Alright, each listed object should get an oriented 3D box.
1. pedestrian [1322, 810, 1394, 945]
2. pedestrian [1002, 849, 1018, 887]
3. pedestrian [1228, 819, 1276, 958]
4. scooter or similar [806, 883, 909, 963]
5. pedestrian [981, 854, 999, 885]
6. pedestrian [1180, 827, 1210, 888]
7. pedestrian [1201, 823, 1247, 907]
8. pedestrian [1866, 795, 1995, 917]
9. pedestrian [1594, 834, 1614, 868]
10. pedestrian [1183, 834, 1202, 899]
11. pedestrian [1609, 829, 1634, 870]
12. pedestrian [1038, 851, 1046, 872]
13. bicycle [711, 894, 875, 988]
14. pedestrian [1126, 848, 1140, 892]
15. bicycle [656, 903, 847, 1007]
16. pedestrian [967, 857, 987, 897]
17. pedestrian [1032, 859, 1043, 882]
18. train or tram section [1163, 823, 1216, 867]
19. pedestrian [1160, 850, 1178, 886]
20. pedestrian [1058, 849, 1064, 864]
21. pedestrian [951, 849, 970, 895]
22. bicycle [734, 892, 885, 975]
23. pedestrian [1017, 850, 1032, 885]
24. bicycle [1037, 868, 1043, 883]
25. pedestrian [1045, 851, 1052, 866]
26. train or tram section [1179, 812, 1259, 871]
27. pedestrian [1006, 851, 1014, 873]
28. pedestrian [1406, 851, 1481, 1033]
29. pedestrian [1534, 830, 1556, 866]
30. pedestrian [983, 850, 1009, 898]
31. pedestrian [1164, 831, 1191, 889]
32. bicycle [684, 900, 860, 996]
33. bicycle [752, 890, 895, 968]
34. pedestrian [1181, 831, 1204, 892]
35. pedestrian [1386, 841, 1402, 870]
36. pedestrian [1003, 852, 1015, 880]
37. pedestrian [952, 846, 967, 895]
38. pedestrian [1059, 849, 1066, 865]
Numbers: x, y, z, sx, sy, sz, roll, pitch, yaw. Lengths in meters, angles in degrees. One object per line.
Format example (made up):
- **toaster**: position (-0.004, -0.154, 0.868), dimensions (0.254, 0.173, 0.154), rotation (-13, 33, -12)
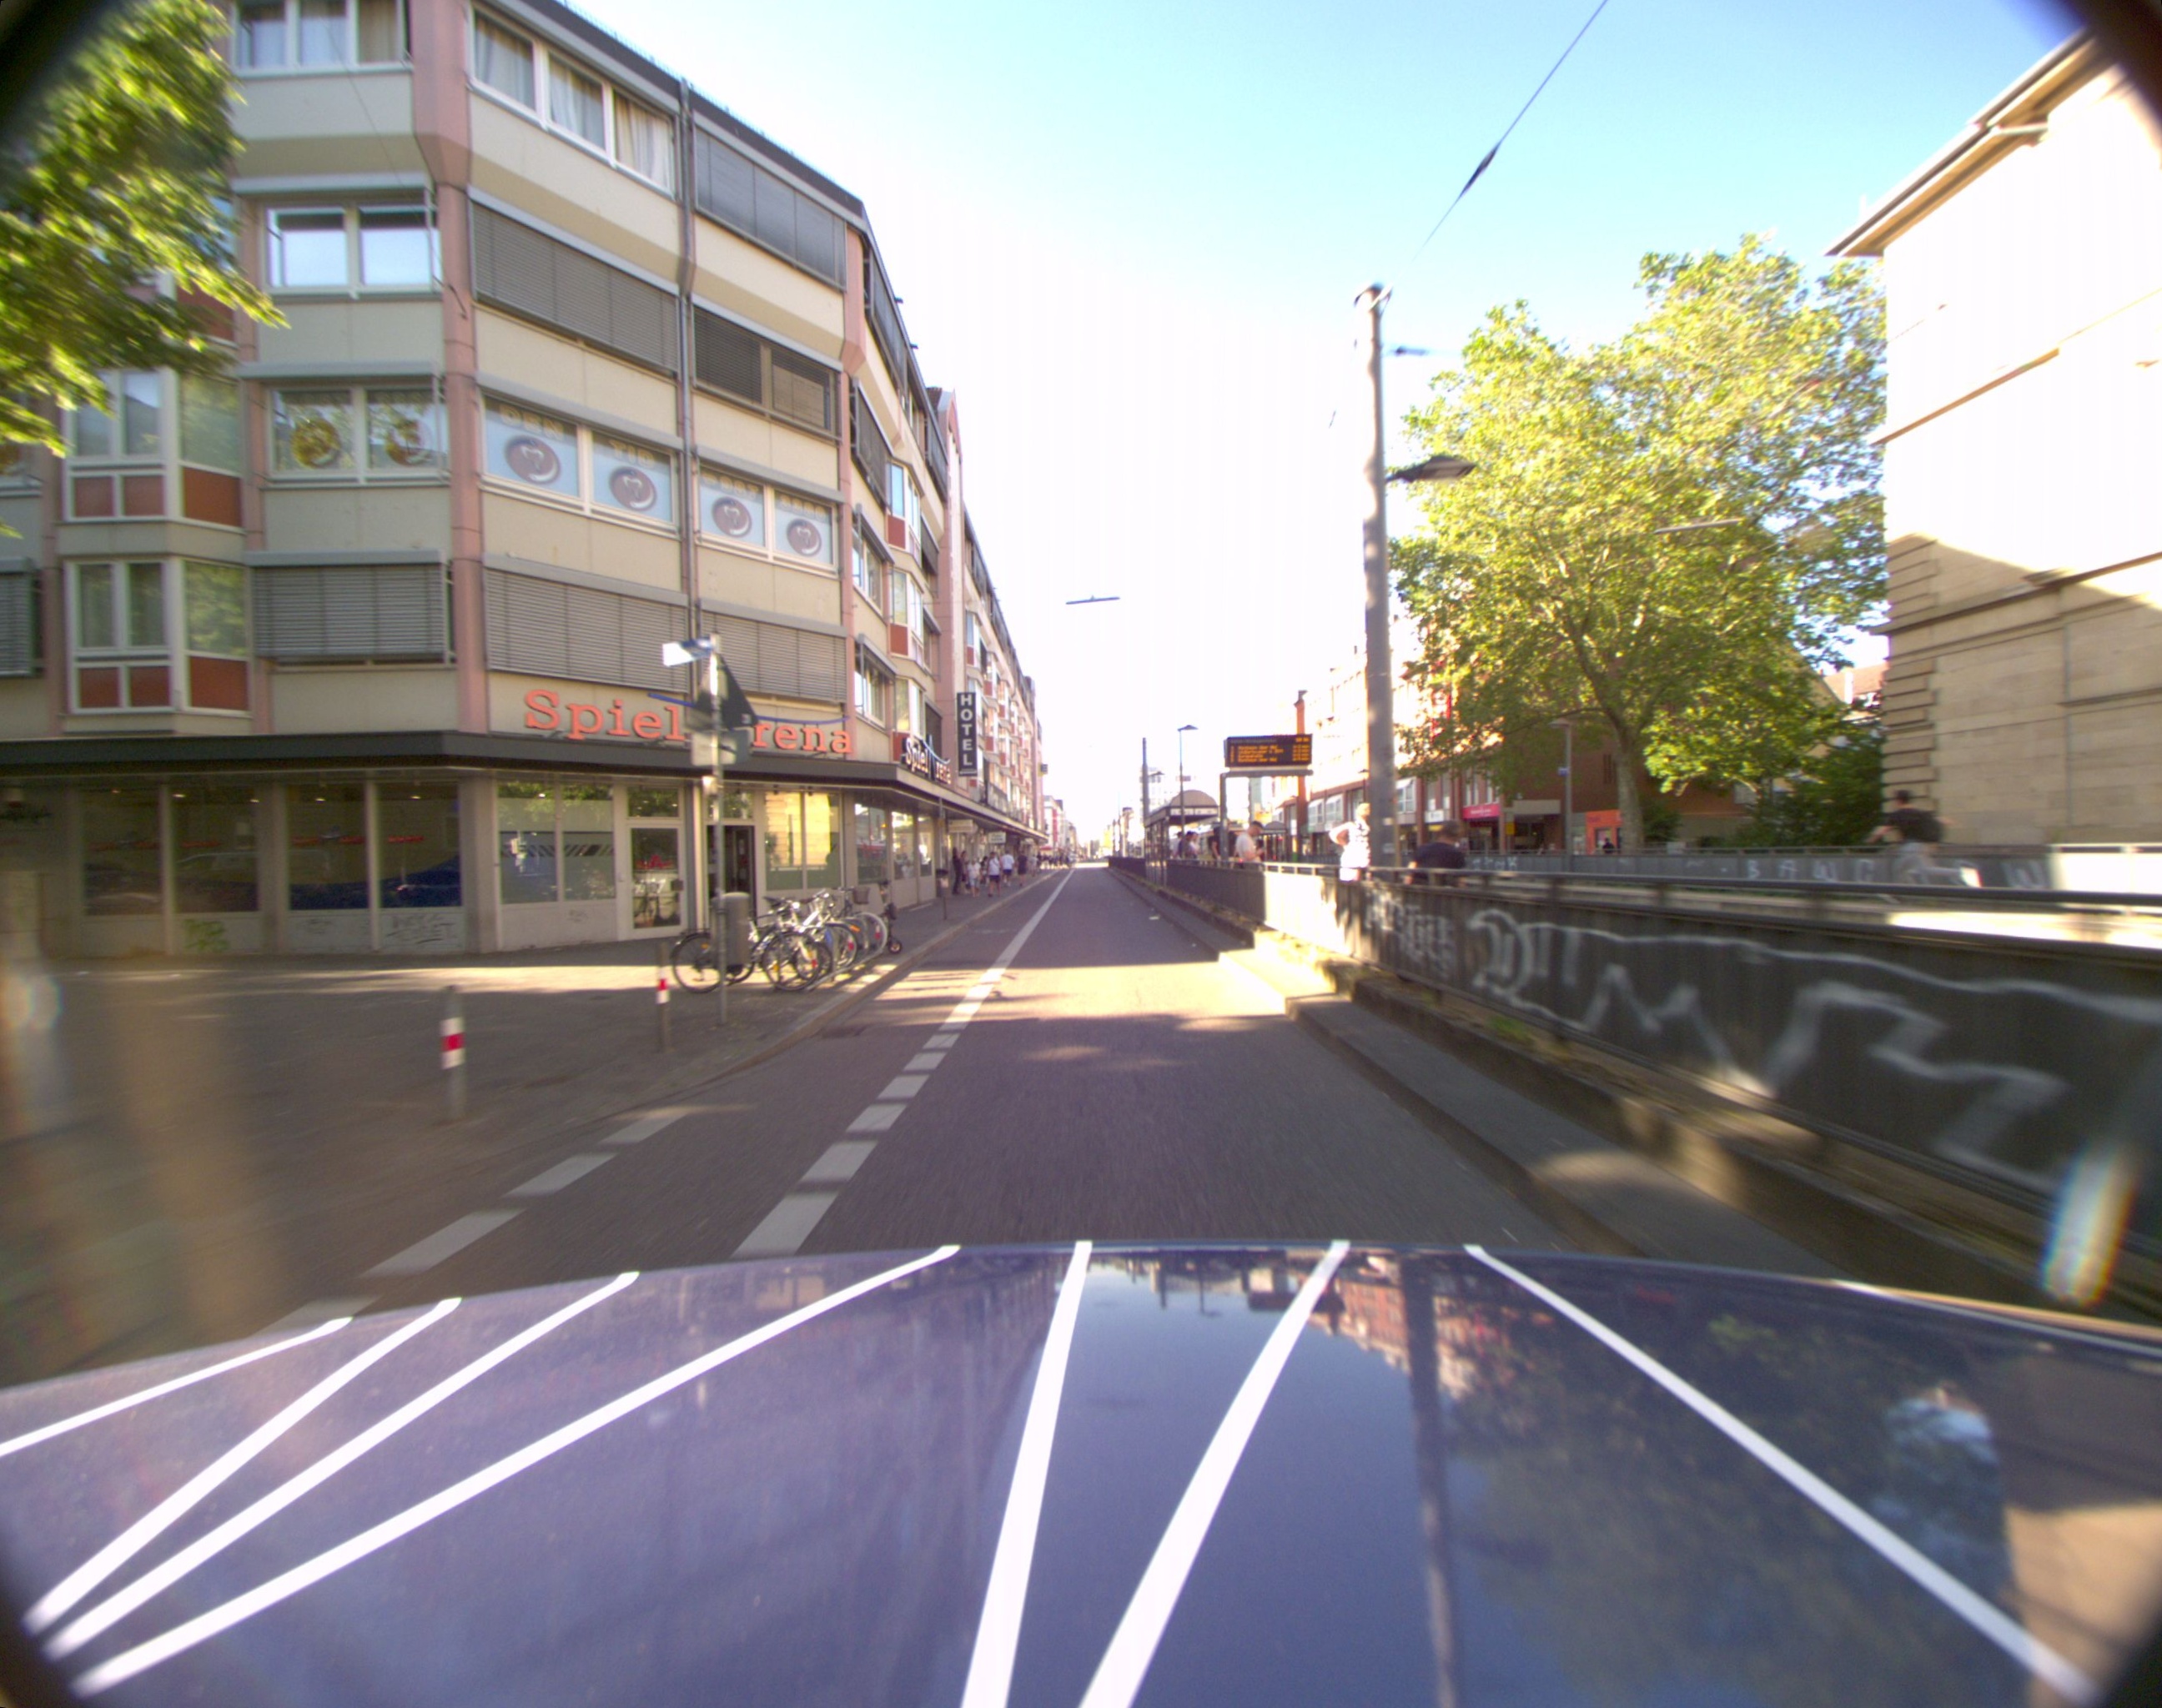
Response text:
- **pedestrian**: position (3.679, 0.307, 10.124), dimensions (0.764, 1.724, 0.590), rotation (-1, 1, 8)
- **pedestrian**: position (-3.471, 0.661, 37.178), dimensions (0.708, 1.809, 0.763), rotation (1, 1, -1)
- **pedestrian**: position (2.683, 0.521, 11.974), dimensions (0.539, 2.108, 0.807), rotation (-1, 1, 0)
- **scooter or similar**: position (-3.582, 1.092, 12.227), dimensions (1.482, 1.222, 0.591), rotation (0, 1, 1)
- **pedestrian**: position (-4.355, 0.730, 36.500), dimensions (0.740, 1.464, 0.707), rotation (1, 1, 1)
- **pedestrian**: position (3.332, 0.110, 22.246), dimensions (0.691, 1.742, 0.748), rotation (-2, 1, -1)
- **pedestrian**: position (3.223, 0.235, 17.232), dimensions (0.772, 1.821, 0.803), rotation (-3, 2, -3)
- **pedestrian**: position (12.157, 0.030, 10.910), dimensions (0.697, 1.658, 1.033), rotation (-1, 1, 1)
- **pedestrian**: position (24.128, -0.149, 35.052), dimensions (0.584, 1.521, 0.474), rotation (-2, 1, 1)
- **pedestrian**: position (2.907, 0.314, 19.827), dimensions (0.352, 1.659, 0.529), rotation (-2, 1, -1)
- **pedestrian**: position (24.858, -0.203, 34.943), dimensions (0.708, 1.871, 0.626), rotation (-1, 1, 4)
- **pedestrian**: position (-3.439, 0.682, 66.983), dimensions (0.676, 1.850, 0.992), rotation (0, 1, 2)
- **bicycle**: position (-3.873, 1.161, 10.306), dimensions (1.951, 1.159, 0.628), rotation (-1, 1, -1)
- **pedestrian**: position (1.873, 0.563, 27.280), dimensions (0.321, 1.563, 0.543), rotation (-2, 1, 17)
- **bicycle**: position (-3.822, 1.167, 8.897), dimensions (1.951, 1.100, 0.564), rotation (-1, 1, -1)
- **pedestrian**: position (-3.840, 0.843, 28.175), dimensions (0.637, 1.475, 0.654), rotation (1, 1, 0)
- **pedestrian**: position (-3.093, 1.187, 54.042), dimensions (0.664, 1.621, 0.705), rotation (-1, 1, 0)
- **train or tram section**: position (10.029, -0.833, 72.050), dimensions (2.981, 3.623, 13.943), rotation (-3, 0, 1)
- **pedestrian**: position (3.129, 0.488, 27.089), dimensions (0.541, 1.245, 0.460), rotation (-3, 1, 0)
- **pedestrian**: position (-2.273, 0.267, 86.041), dimensions (0.709, 1.604, 0.495), rotation (-1, 1, 0)
- **pedestrian**: position (-4.653, 0.699, 29.258), dimensions (0.631, 1.759, 0.501), rotation (0, 1, 1)
- **bicycle**: position (-3.888, 1.137, 10.960), dimensions (1.951, 1.100, 0.564), rotation (-1, 1, -1)
- **pedestrian**: position (-2.788, 0.668, 37.577), dimensions (0.669, 1.719, 0.810), rotation (1, 1, 0)
- **bicycle**: position (-2.893, 1.498, 54.047), dimensions (0.303, 0.984, 1.760), rotation (-2, 0, 0)
- **pedestrian**: position (-3.197, 0.452, 74.688), dimensions (0.667, 1.512, 0.789), rotation (1, 1, -4)
- **train or tram section**: position (9.894, -0.798, 56.876), dimensions (2.981, 3.623, 16.486), rotation (-3, 0, 1)
- **pedestrian**: position (-5.390, 0.580, 57.645), dimensions (0.517, 1.623, 0.522), rotation (-2, 1, 5)
- **pedestrian**: position (2.757, 0.639, 5.771), dimensions (0.480, 1.321, 0.355), rotation (-1, 1, 30)
- **pedestrian**: position (23.587, -0.283, 38.621), dimensions (0.688, 1.795, 0.648), rotation (-2, 1, 0)
- **pedestrian**: position (-3.152, 0.717, 28.217), dimensions (0.746, 1.717, 0.814), rotation (-3, 1, 1)
- **pedestrian**: position (3.008, 0.179, 23.730), dimensions (0.691, 1.755, 0.748), rotation (-2, 1, -1)
- **bicycle**: position (-3.849, 1.158, 9.545), dimensions (1.951, 1.100, 0.564), rotation (-1, 1, -1)
- **bicycle**: position (-3.897, 1.126, 11.574), dimensions (1.951, 1.100, 0.564), rotation (-1, 1, -1)
- **pedestrian**: position (3.073, 0.203, 20.905), dimensions (0.495, 1.639, 0.590), rotation (-2, 1, -1)
- **pedestrian**: position (20.813, 0.074, 50.558), dimensions (0.791, 1.905, 0.665), rotation (-1, 1, -1)
- **pedestrian**: position (-4.228, 0.701, 44.718), dimensions (0.602, 1.581, 0.553), rotation (-1, 1, 0)
- **pedestrian**: position (-4.706, 0.630, 29.376), dimensions (0.452, 1.839, 0.811), rotation (0, 1, -2)
- **pedestrian**: position (-2.195, 0.363, 89.590), dimensions (0.680, 1.832, 0.606), rotation (-3, 1, -12)
